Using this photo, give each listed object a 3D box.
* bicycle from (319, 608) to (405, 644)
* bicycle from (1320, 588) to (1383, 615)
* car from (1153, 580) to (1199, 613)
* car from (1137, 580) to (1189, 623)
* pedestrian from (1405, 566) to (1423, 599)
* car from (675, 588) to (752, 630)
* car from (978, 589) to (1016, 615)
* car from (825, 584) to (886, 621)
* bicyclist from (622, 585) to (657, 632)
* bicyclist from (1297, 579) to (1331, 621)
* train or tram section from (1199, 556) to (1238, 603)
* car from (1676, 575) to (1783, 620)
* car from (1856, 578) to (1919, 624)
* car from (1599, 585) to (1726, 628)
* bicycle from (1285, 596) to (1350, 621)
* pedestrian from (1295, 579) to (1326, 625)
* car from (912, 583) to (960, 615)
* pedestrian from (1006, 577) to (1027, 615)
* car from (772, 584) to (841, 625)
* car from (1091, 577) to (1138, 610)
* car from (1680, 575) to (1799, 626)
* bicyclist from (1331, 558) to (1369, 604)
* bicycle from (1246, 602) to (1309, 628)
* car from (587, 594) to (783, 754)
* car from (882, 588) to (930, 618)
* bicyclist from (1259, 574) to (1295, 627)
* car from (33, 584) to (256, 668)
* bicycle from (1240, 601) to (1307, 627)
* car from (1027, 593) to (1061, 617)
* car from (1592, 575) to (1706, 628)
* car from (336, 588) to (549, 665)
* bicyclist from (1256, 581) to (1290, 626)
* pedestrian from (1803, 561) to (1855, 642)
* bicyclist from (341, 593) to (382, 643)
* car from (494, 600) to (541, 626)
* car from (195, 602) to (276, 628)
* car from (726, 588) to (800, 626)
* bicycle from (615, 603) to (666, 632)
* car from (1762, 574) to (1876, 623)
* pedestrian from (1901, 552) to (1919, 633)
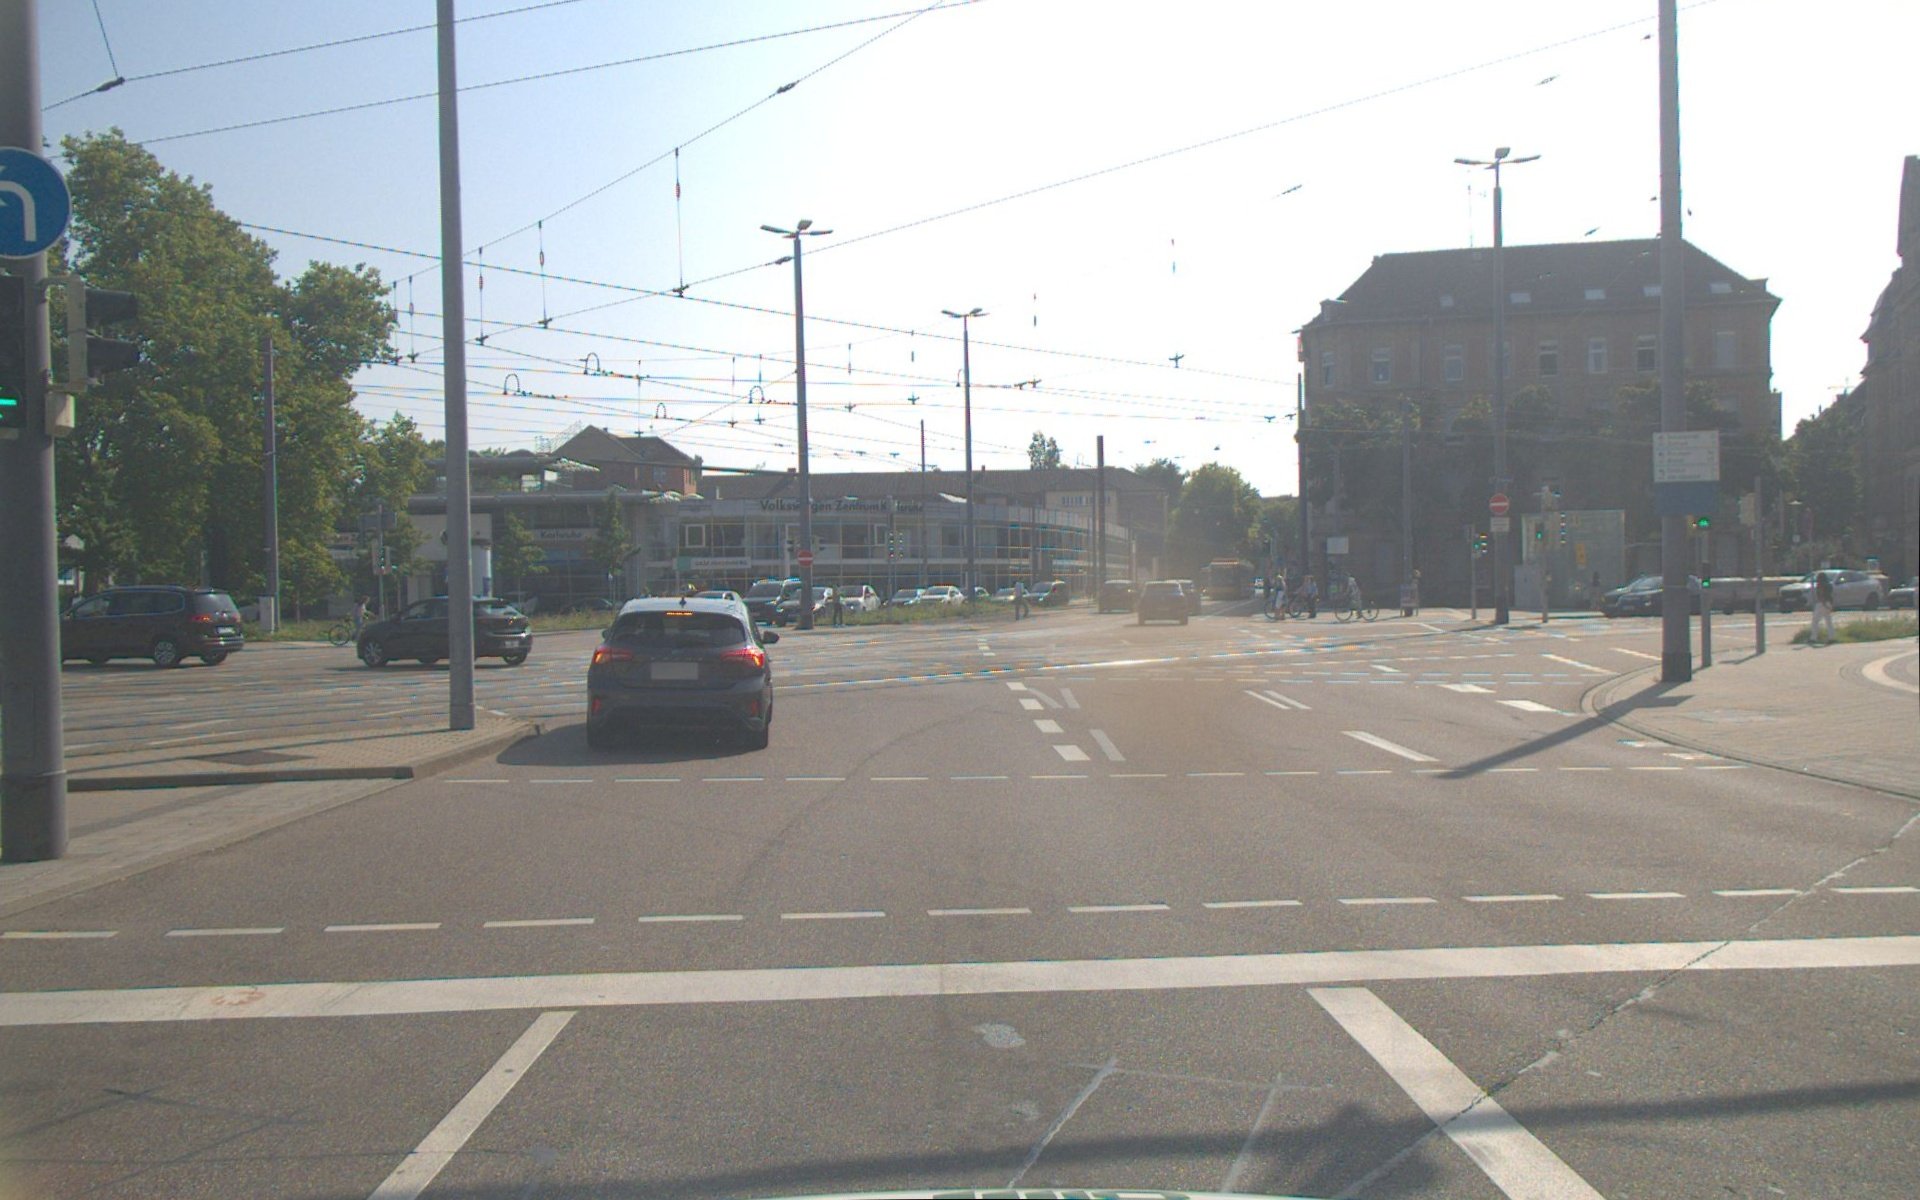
[{"bbox_3d":[-19.254,0.826,53.307,2.559,1.075,0.956,-1,0,-18],"label":"bicycle"},{"bbox_3d":[15.126,0.039,63.867,2.603,0.981,1.077,-1,1,-41],"label":"bicycle"},{"bbox_3d":[10.003,-0.185,76.306,1.786,1.453,4.416,-1,1,11],"label":"car"},{"bbox_3d":[7.390,0.028,60.003,1.786,1.453,4.416,-1,1,7],"label":"car"},{"bbox_3d":[20.374,-0.789,74.187,0.537,1.496,0.664,-1,0,42],"label":"pedestrian"},{"bbox_3d":[-9.422,0.312,63.445,1.580,1.501,4.004,-3,0,12],"label":"car"},{"bbox_3d":[2.351,0.110,103.655,1.580,1.501,4.004,-3,0,13],"label":"car"},{"bbox_3d":[-4.514,0.105,72.047,1.580,1.501,4.004,-3,0,12],"label":"car"},{"bbox_3d":[-12.185,0.324,62.915,0.937,1.779,1.167,-1,0,13],"label":"bicyclist"},{"bbox_3d":[14.865,-0.011,69.498,0.923,1.709,1.083,-1,0,-27],"label":"bicyclist"},{"bbox_3d":[21.503,-1.715,137.241,2.598,3.763,10.599,-1,1,12],"label":"train or tram section"},{"bbox_3d":[33.543,-0.115,72.077,4.201,1.891,1.918,-1,0,-23],"label":"car"},{"bbox_3d":[40.261,0.011,70.412,4.194,1.891,1.890,-1,0,-32],"label":"car"},{"bbox_3d":[24.597,0.206,57.887,4.330,1.421,2.002,-1,0,-32],"label":"car"},{"bbox_3d":[15.037,0.359,69.595,2.588,0.981,1.083,-1,0,-28],"label":"bicycle"},{"bbox_3d":[14.175,0.081,66.915,0.921,1.828,0.846,-1,0,-44],"label":"pedestrian"},{"bbox_3d":[-1.214,-0.064,85.696,1.580,1.501,4.004,-3,0,13],"label":"car"},{"bbox_3d":[2.273,-0.170,66.937,0.761,1.529,0.711,-1,0,8],"label":"pedestrian"},{"bbox_3d":[-6.073,0.168,65.707,1.580,1.501,4.004,-3,0,12],"label":"car"},{"bbox_3d":[7.762,-0.336,82.864,1.786,1.562,4.416,-1,1,13],"label":"car"},{"bbox_3d":[30.506,-0.003,64.685,4.643,1.891,1.891,-1,0,-30],"label":"car"},{"bbox_3d":[15.051,-0.737,63.804,0.928,1.738,1.077,-1,0,-40],"label":"bicyclist"},{"bbox_3d":[12.609,0.579,65.594,2.603,0.981,1.077,-1,1,-41],"label":"bicycle"},{"bbox_3d":[-2.918,0.680,17.680,1.798,1.460,4.540,-1,0,-9],"label":"car"},{"bbox_3d":[-2.883,0.129,89.443,1.580,1.501,4.004,-3,0,13],"label":"car"},{"bbox_3d":[12.565,0.026,65.566,0.928,2.059,1.077,-1,0,-40],"label":"bicyclist"},{"bbox_3d":[-18.154,0.565,36.865,4.304,1.744,1.833,-1,1,16],"label":"car"},{"bbox_3d":[12.865,0.560,67.888,2.588,0.981,1.083,-1,0,-28],"label":"bicycle"},{"bbox_3d":[5.645,0.310,110.478,1.580,1.501,4.004,-3,0,13],"label":"car"},{"bbox_3d":[25.975,0.035,62.300,4.194,1.891,1.890,-1,0,-32],"label":"car"},{"bbox_3d":[-10.892,0.556,34.778,4.271,1.518,1.687,-1,0,25],"label":"car"},{"bbox_3d":[12.846,0.131,67.876,0.923,1.831,1.083,-1,0,-27],"label":"bicyclist"},{"bbox_3d":[18.799,0.024,35.773,0.903,1.719,0.835,-1,0,34],"label":"pedestrian"},{"bbox_3d":[-19.289,0.574,53.312,1.144,1.554,0.956,-1,0,-17],"label":"bicyclist"},{"bbox_3d":[-27.030,0.785,101.151,1.664,1.549,4.100,-1,0,1],"label":"car"},{"bbox_3d":[-44.387,0.898,101.430,1.667,1.549,4.509,-1,0,28],"label":"car"},{"bbox_3d":[-8.357,0.270,70.591,1.918,1.501,4.004,-3,0,12],"label":"car"},{"bbox_3d":[-12.163,0.662,63.008,0.937,1.075,2.610,-1,0,13],"label":"bicycle"},{"bbox_3d":[34.770,-0.072,66.922,4.603,1.891,2.024,-1,0,-32],"label":"car"},{"bbox_3d":[20.838,-0.165,35.599,0.904,1.719,0.921,-1,0,36],"label":"pedestrian"}]
